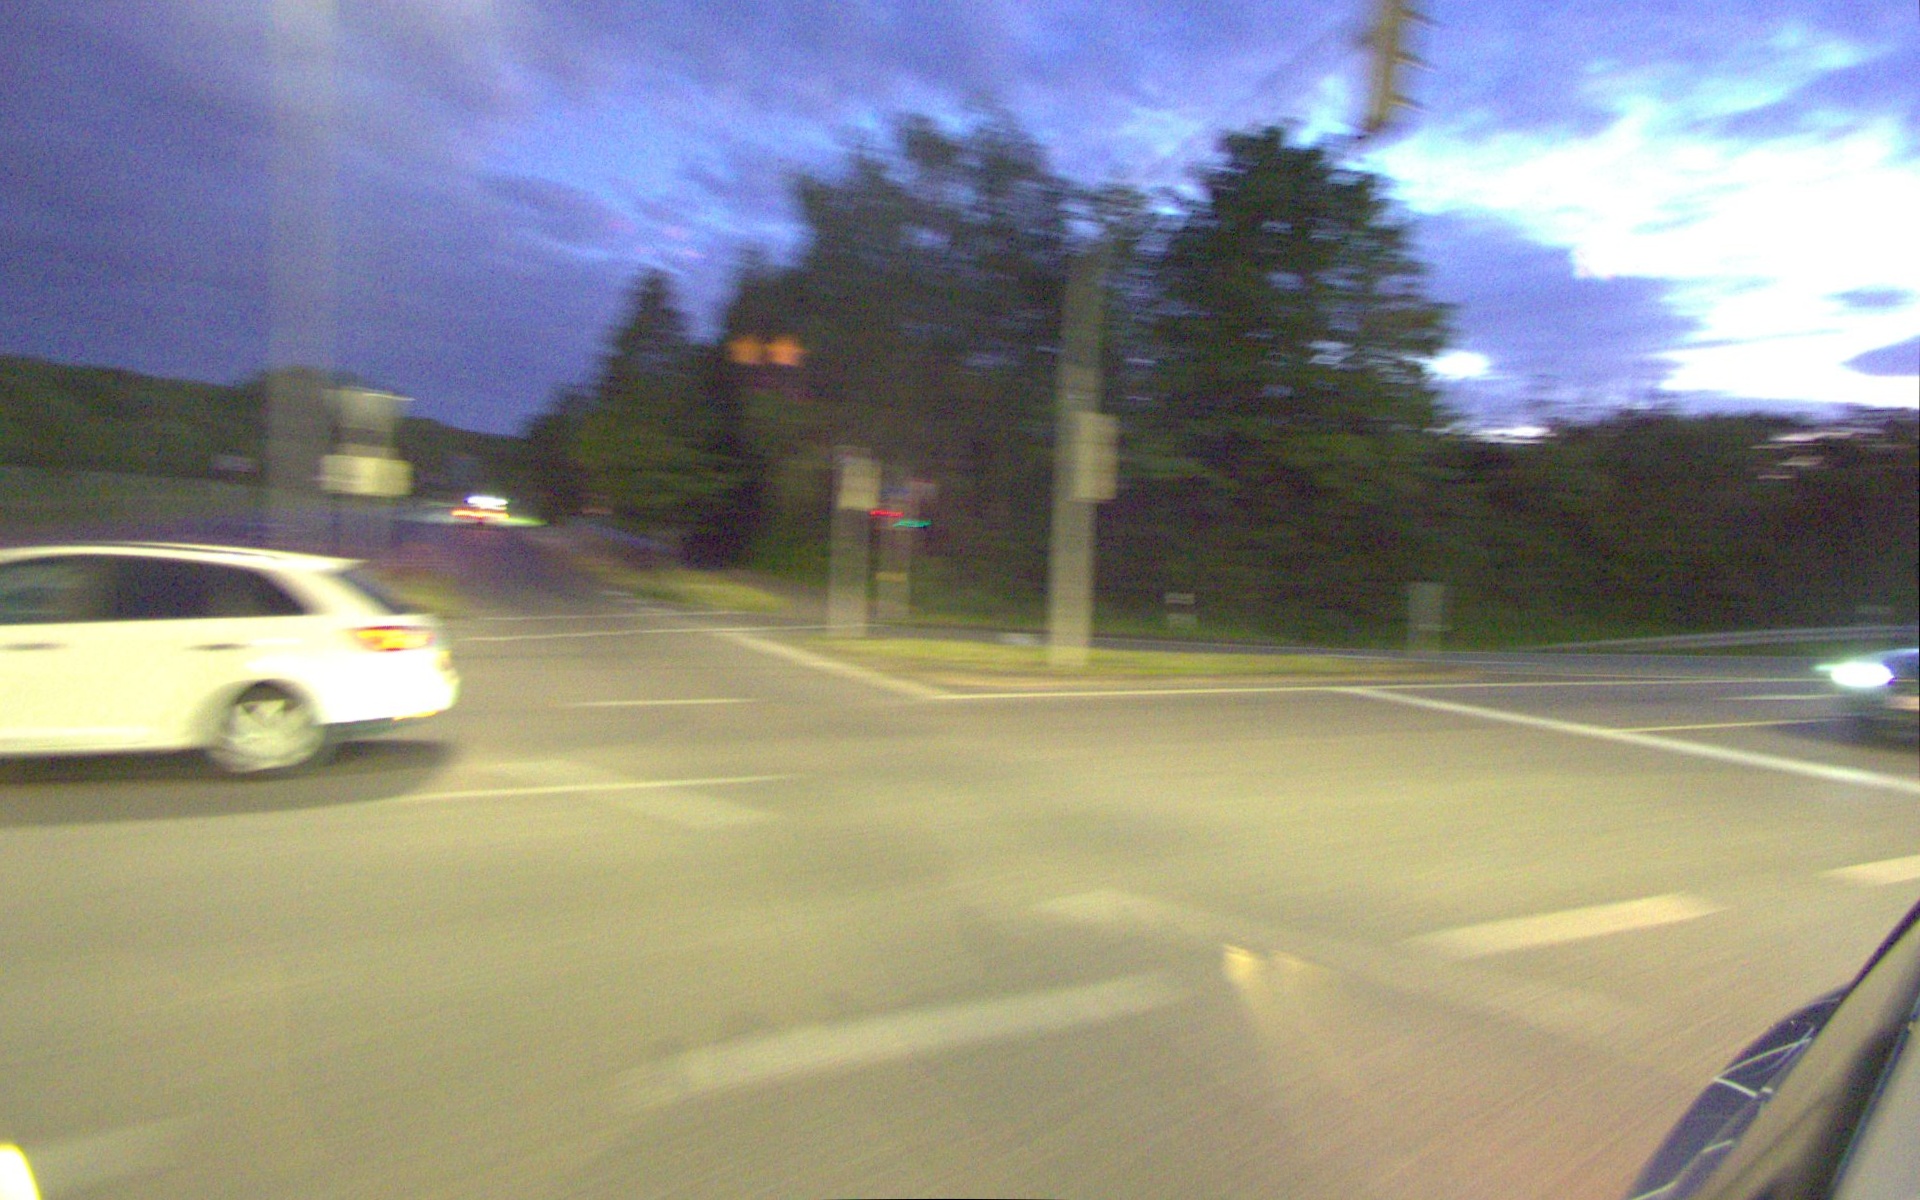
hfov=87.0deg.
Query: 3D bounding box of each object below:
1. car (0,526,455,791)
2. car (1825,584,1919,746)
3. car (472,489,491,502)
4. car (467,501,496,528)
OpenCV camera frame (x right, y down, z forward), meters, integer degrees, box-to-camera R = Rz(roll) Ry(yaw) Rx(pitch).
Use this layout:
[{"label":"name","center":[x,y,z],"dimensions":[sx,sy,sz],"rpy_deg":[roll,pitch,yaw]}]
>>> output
[{"label":"car","center":[-5.501,0.286,6.382],"dimensions":[4.032,1.461,1.628],"rpy_deg":[1,3,-23]},{"label":"car","center":[10.812,0.616,9.888],"dimensions":[4.439,1.461,1.800],"rpy_deg":[0,1,-24]},{"label":"car","center":[-70.190,-15.354,148.466],"dimensions":[1.664,1.615,3.934],"rpy_deg":[-1,2,-13]},{"label":"car","center":[-33.716,-6.042,71.245],"dimensions":[1.705,1.590,4.073],"rpy_deg":[1,8,-27]}]
